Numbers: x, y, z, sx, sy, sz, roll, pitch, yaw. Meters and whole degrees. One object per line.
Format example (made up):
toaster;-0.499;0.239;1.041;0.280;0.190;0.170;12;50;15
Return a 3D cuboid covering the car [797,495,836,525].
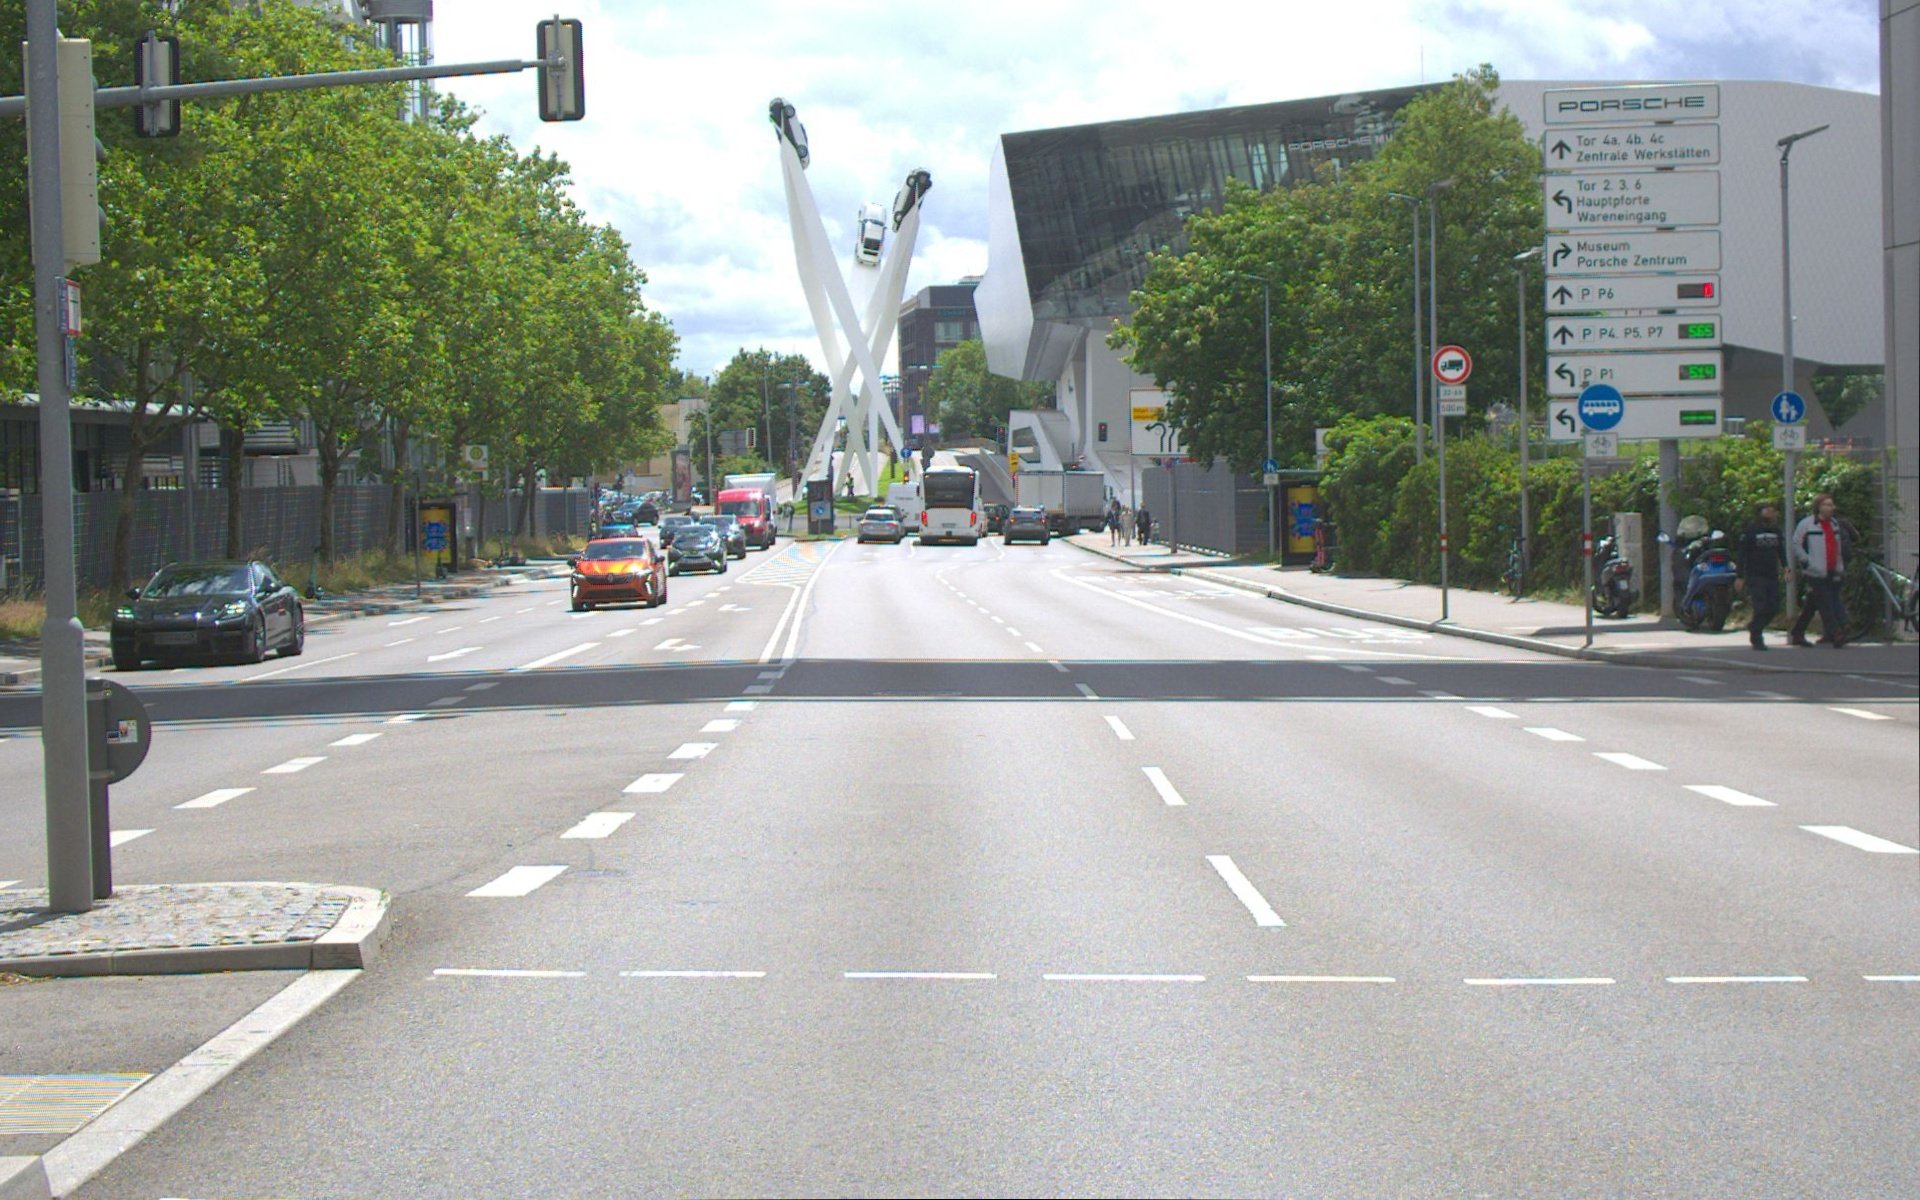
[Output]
car;-6.485;-4.070;155.511;1.557;1.269;3.701;-3;1;0

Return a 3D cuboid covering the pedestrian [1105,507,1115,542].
pedestrian;6.007;-3.029;137.874;0.386;1.416;0.423;1;0;0

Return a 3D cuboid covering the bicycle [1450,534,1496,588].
bicycle;9.734;-0.742;65.268;0.418;1.019;1.913;1;1;-5

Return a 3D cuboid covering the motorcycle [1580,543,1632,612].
motorcycle;9.761;-0.345;52.011;0.457;1.019;1.912;1;1;1

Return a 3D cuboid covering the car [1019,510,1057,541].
car;3.311;-3.172;146.198;1.557;1.269;3.701;-3;1;1

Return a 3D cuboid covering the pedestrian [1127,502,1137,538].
pedestrian;6.833;-3.176;136.642;0.386;1.416;0.423;1;0;0

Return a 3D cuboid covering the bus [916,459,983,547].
bus;-0.452;-4.157;148.902;2.787;3.673;6.943;1;1;0

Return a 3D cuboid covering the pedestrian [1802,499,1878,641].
pedestrian;10.265;-0.348;40.117;0.533;1.635;0.658;1;0;-25

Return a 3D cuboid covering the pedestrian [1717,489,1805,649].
pedestrian;9.141;-0.358;39.242;0.641;1.787;0.712;-3;1;-16

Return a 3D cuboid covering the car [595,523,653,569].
car;-11.708;-1.904;119.929;1.797;1.568;4.001;0;1;-2

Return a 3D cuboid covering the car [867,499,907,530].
car;-3.154;-3.705;148.708;1.557;1.269;3.701;-3;1;1

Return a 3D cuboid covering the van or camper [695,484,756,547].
van or camper;-9.420;-3.408;138.593;2.047;2.458;5.595;0;1;0

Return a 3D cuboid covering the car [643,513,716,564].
car;-8.262;-1.824;101.455;1.769;1.415;3.701;-3;1;0

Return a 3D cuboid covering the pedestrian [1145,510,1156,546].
pedestrian;7.596;-2.881;136.949;0.386;1.416;0.423;1;0;0

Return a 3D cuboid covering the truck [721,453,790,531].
truck;-9.166;-4.820;154.716;2.591;3.312;7.079;1;1;0

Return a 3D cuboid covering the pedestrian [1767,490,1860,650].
pedestrian;9.776;-0.346;39.396;0.691;1.787;0.712;-3;1;-16

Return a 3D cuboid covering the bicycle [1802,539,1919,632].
bicycle;11.167;-0.176;40.873;2.222;1.083;0.476;1;1;35

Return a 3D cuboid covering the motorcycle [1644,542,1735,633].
motorcycle;9.542;-0.166;45.028;0.418;1.162;1.957;1;1;-11

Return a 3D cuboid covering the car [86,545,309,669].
car;-10.374;0.053;47.127;1.917;1.483;4.772;-3;1;0

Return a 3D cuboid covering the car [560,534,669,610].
car;-7.015;-0.592;70.114;1.769;1.415;3.701;-3;1;0

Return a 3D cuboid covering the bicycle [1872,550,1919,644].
bicycle;11.658;-0.019;39.543;2.222;1.083;0.476;1;1;35

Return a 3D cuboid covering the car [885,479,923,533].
car;-2.793;-4.668;171.168;1.843;2.614;4.000;1;1;-2

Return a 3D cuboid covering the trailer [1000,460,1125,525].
trailer;5.208;-5.324;172.084;3.322;2.984;10.366;1;1;19
